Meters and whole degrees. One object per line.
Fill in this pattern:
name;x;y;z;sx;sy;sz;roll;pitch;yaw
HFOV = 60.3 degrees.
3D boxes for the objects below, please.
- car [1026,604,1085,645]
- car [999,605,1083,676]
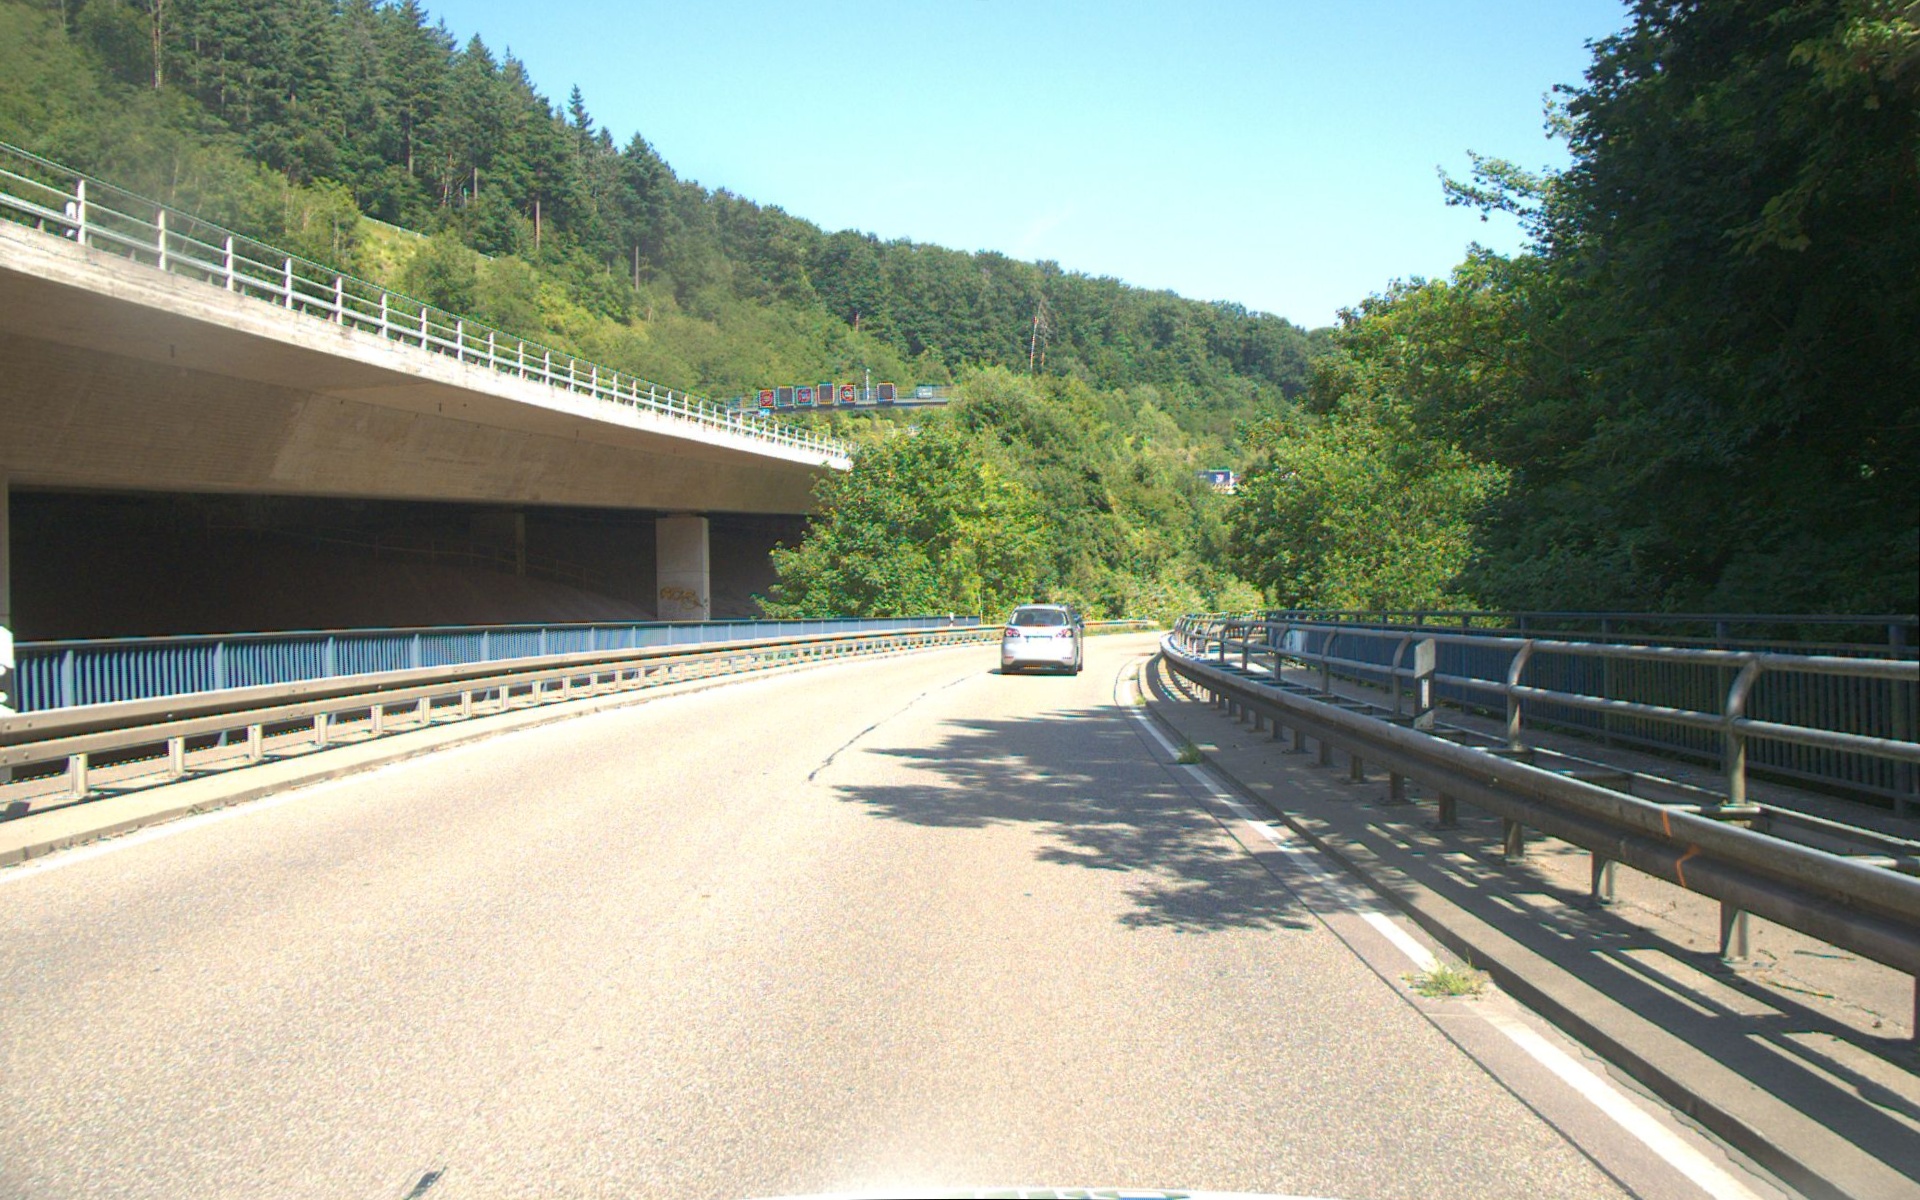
car;4.028;1.010;69.316;1.858;1.608;4.558;0;0;11
car;1.909;0.899;38.060;1.714;1.546;4.162;0;-1;6
